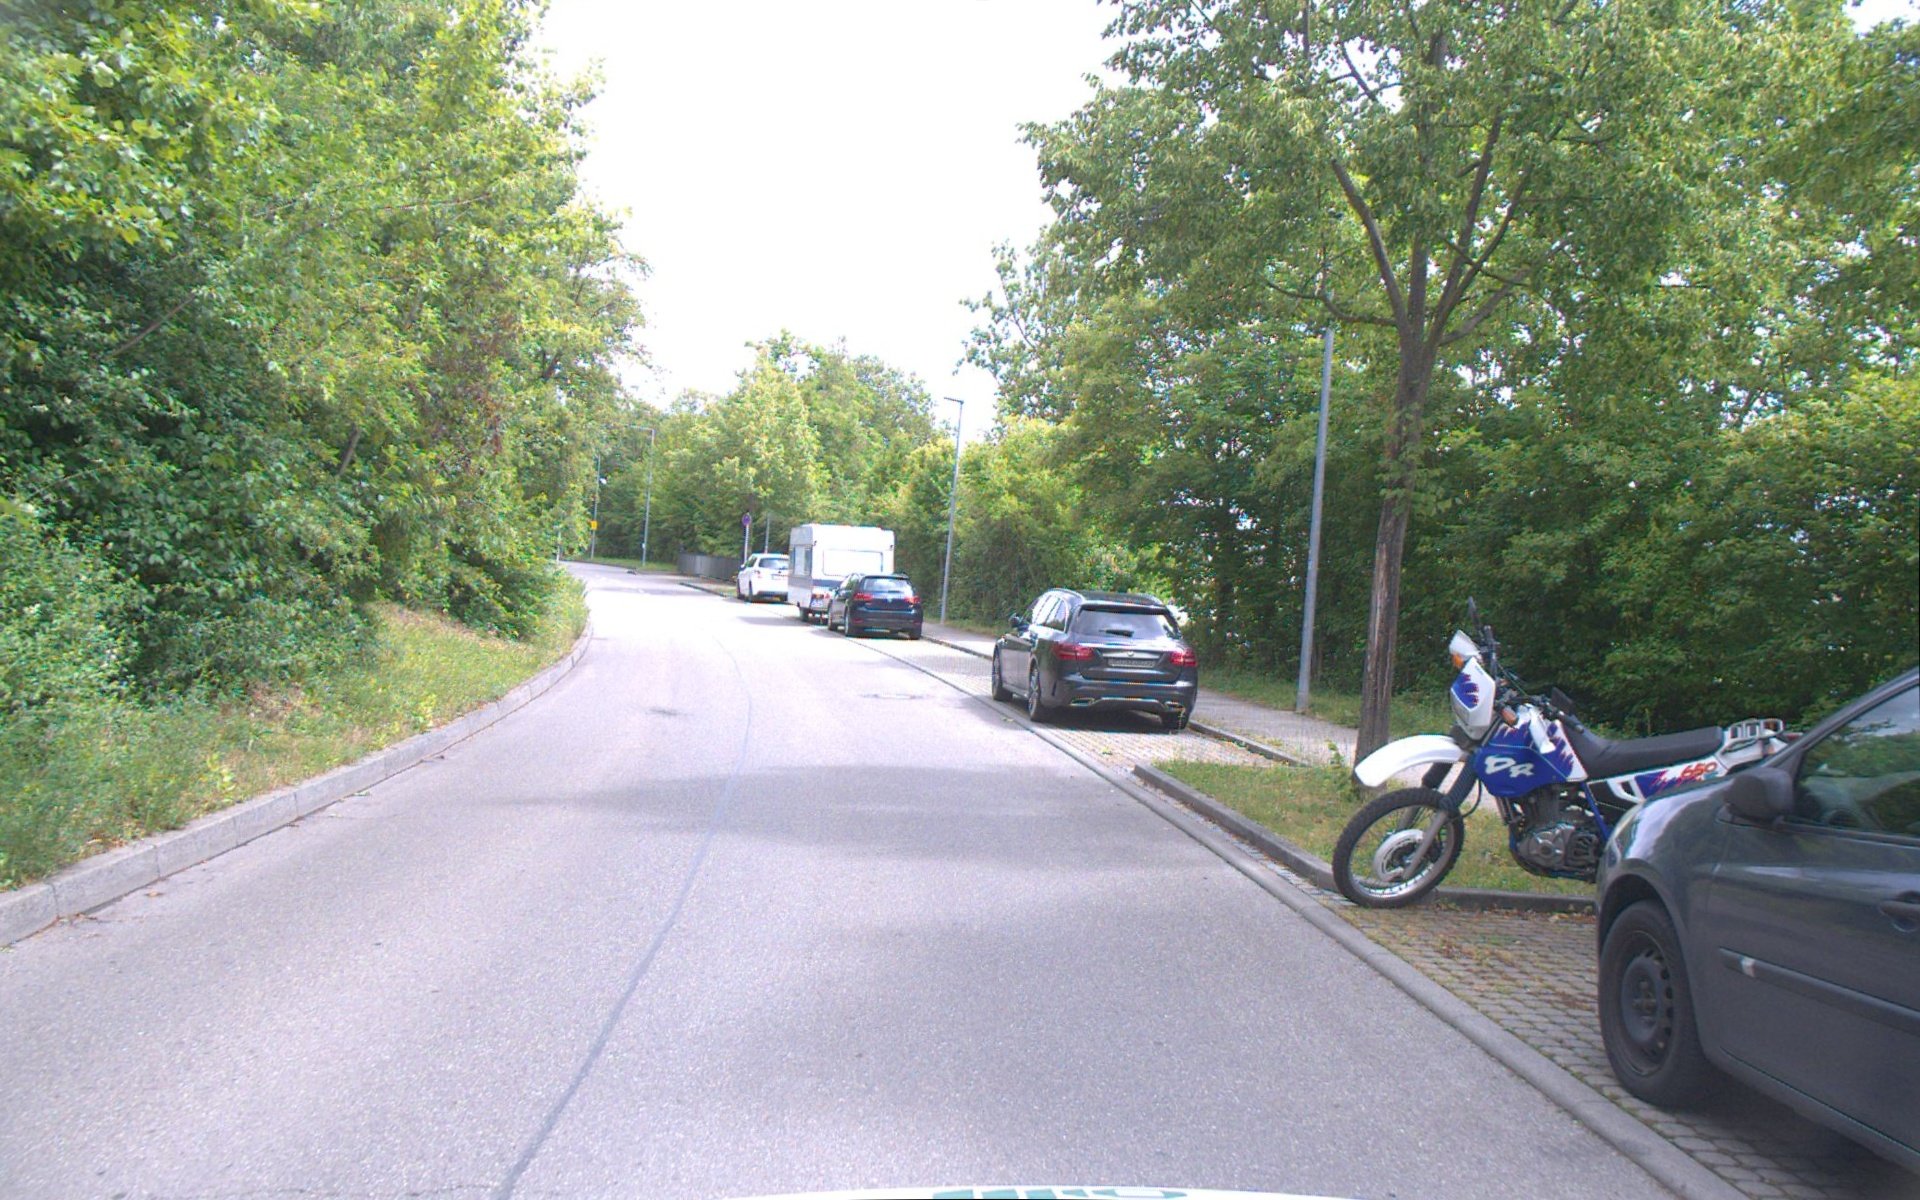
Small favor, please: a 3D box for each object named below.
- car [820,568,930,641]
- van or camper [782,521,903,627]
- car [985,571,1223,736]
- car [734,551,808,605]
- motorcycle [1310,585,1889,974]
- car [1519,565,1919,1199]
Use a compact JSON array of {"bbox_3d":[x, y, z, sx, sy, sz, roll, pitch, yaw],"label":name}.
[{"bbox_3d":[-2.056,0.061,38.725,1.653,1.476,4.464,3,1,-14],"label":"car"},{"bbox_3d":[-3.233,-0.723,44.291,2.315,2.598,5.056,2,1,-14],"label":"van or camper"},{"bbox_3d":[1.540,0.525,19.488,1.857,1.556,4.540,3,1,-7],"label":"car"},{"bbox_3d":[-6.516,-0.785,56.661,1.775,1.627,4.354,2,2,-16],"label":"car"},{"bbox_3d":[2.817,0.714,7.463,2.258,1.501,0.975,1,0,22],"label":"motorcycle"},{"bbox_3d":[2.941,0.739,3.893,1.733,1.544,4.106,3,0,-1],"label":"car"}]
